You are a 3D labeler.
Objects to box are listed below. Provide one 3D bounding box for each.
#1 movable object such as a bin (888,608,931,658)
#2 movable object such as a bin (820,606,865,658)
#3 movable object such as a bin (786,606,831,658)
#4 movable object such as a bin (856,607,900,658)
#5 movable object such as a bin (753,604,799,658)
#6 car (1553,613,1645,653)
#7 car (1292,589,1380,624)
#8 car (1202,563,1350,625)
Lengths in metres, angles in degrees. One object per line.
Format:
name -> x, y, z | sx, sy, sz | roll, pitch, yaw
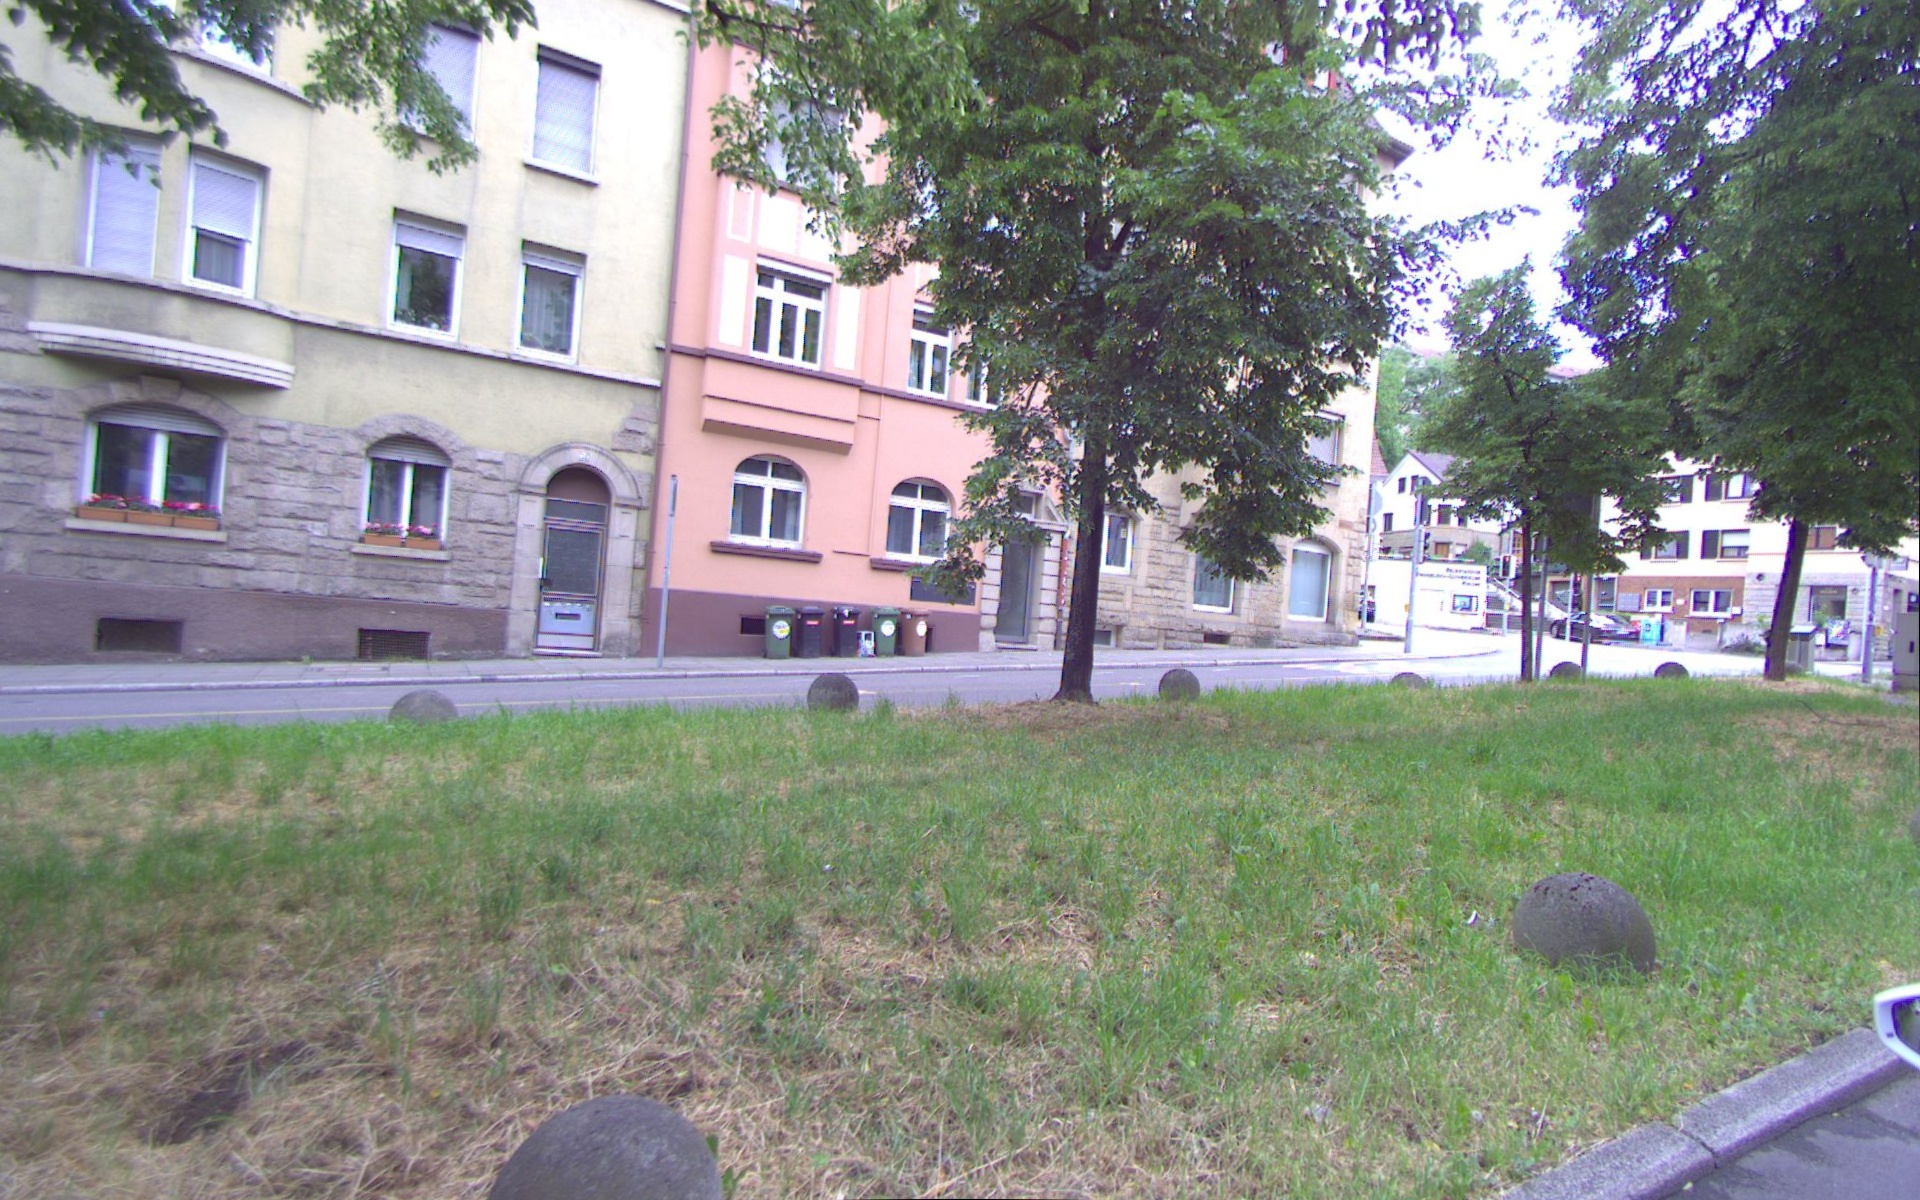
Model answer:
movable object such as a bin -> -0.985, 0.635, 19.545 | 0.595, 0.916, 0.605 | 1, 2, -34
movable object such as a bin -> -2.203, 0.596, 18.807 | 0.595, 0.916, 0.605 | 1, 2, -34
movable object such as a bin -> -2.792, 0.580, 18.443 | 0.595, 0.916, 0.605 | 1, 2, -34
movable object such as a bin -> -1.573, 0.616, 19.177 | 0.595, 0.916, 0.605 | 1, 2, -34
movable object such as a bin -> -3.314, 0.557, 18.097 | 0.595, 0.916, 0.605 | 1, 2, -34
car -> 29.748, 1.504, 46.904 | 1.845, 1.687, 4.002 | 3, -1, 4
car -> 18.564, 0.286, 49.760 | 3.920, 1.530, 1.800 | 2, 1, 17
car -> 12.366, -0.267, 39.487 | 5.102, 2.092, 1.988 | 4, 2, 38
